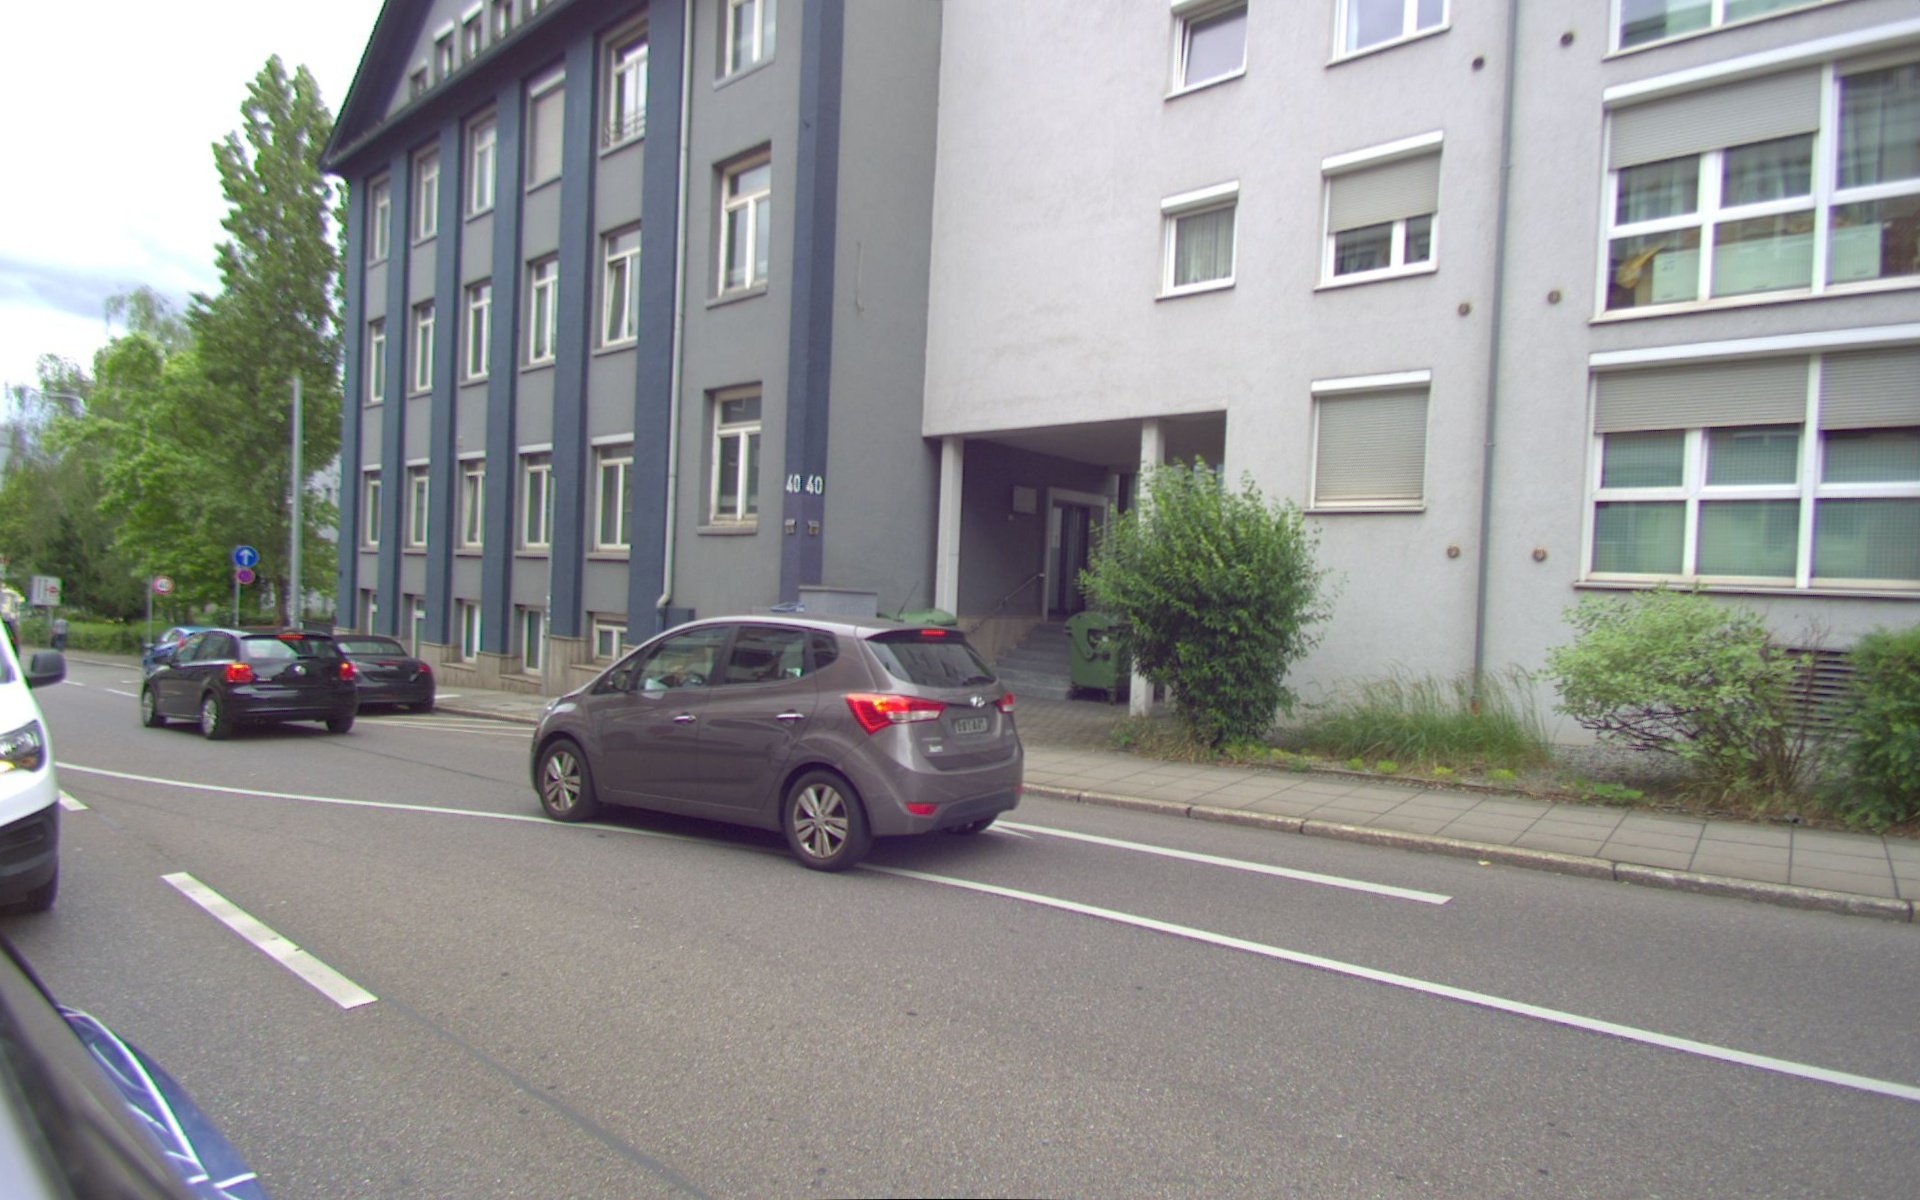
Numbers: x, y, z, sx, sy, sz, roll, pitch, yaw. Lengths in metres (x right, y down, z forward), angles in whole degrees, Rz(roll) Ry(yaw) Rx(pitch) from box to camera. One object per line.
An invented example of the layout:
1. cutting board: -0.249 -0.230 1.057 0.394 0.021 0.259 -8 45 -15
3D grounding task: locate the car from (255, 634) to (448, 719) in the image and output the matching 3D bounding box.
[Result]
1. car: -10.953 1.306 18.117 4.038 1.337 1.702 -1 -4 40

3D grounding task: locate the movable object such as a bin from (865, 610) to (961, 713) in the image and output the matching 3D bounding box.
1. movable object such as a bin: -0.717 0.908 15.585 0.784 1.467 1.251 0 1 44

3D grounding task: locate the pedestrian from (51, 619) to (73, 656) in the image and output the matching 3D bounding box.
1. pedestrian: -45.439 1.903 51.189 0.776 1.864 0.736 -2 -1 42

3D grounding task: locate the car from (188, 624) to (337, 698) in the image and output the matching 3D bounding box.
1. car: -15.264 1.301 22.089 3.868 1.485 1.796 -2 -4 42

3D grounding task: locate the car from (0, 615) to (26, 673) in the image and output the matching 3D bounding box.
1. car: -30.336 1.300 31.147 4.304 1.720 1.765 -1 -4 41

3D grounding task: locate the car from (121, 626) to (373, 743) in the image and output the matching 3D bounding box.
1. car: -9.910 1.094 14.001 3.786 1.411 1.658 -1 -4 36

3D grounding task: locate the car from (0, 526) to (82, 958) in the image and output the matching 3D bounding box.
1. car: -6.322 0.647 5.418 4.937 1.821 1.816 -1 0 42

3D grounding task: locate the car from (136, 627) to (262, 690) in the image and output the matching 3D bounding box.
1. car: -19.287 1.441 25.607 3.724 1.465 1.702 -1 -3 40

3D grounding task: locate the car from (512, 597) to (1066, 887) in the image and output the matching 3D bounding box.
1. car: -1.360 0.855 7.442 3.926 1.599 1.689 -1 -4 35

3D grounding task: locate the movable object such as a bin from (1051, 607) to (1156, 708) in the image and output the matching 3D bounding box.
1. movable object such as a bin: 2.341 0.903 16.528 1.190 1.489 1.132 5 2 41
